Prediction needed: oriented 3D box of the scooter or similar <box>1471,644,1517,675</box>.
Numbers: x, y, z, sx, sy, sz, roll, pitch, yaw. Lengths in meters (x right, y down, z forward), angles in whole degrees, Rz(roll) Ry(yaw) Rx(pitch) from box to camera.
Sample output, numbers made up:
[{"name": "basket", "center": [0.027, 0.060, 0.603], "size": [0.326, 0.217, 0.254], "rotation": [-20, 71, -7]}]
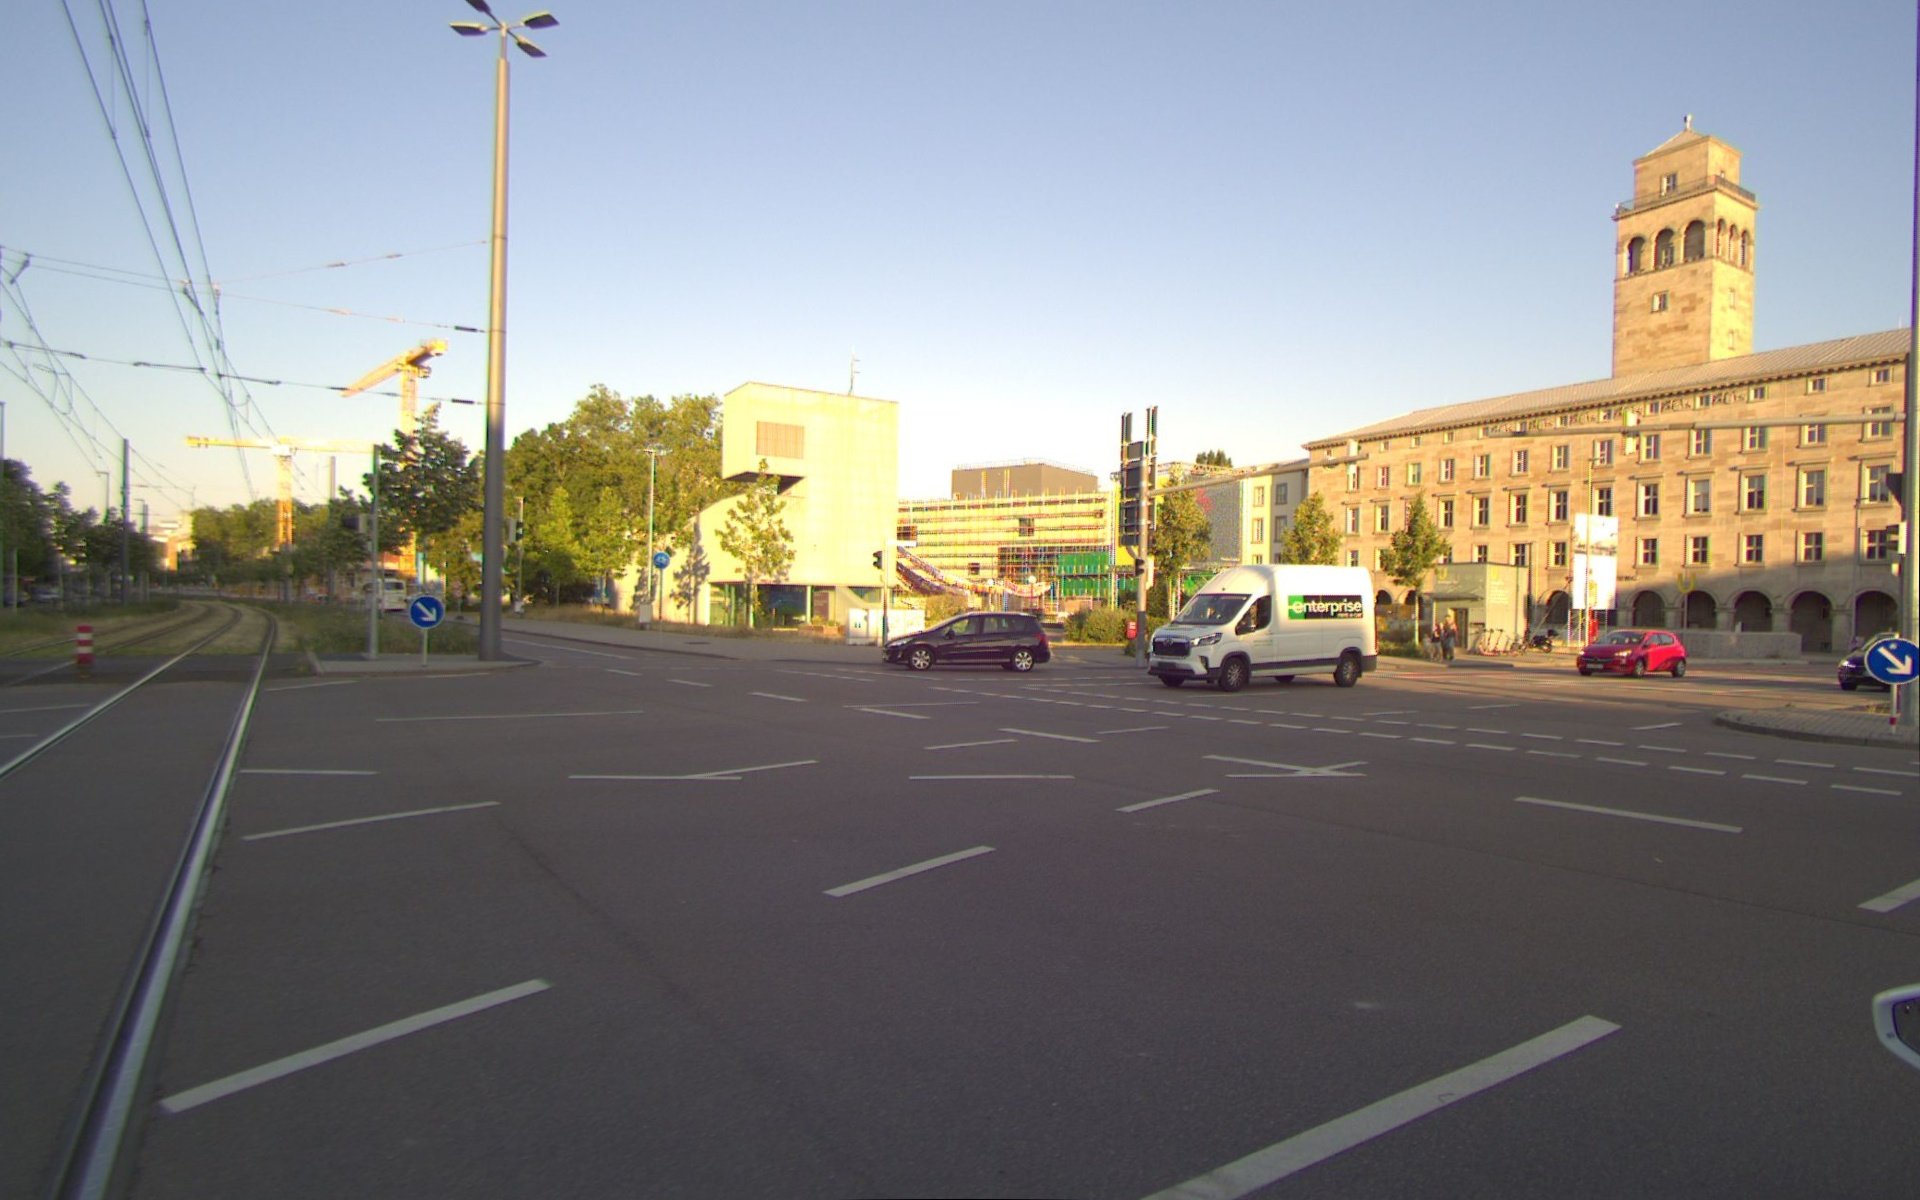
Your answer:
[{"name": "scooter or similar", "center": [24.410, 2.719, 45.932], "size": [0.419, 1.322, 1.817], "rotation": [2, -1, -37]}]

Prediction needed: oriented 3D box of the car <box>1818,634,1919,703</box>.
[{"name": "car", "center": [23.128, 1.658, 24.677], "size": [4.488, 1.485, 1.876], "rotation": [2, -1, -33]}]

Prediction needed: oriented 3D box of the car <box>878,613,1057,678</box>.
[{"name": "car", "center": [0.150, 1.199, 26.805], "size": [4.402, 1.573, 2.068], "rotation": [2, -1, -14]}]

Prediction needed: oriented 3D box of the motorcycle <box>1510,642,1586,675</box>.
[{"name": "motorcycle", "center": [29.363, 2.892, 50.202], "size": [0.831, 1.401, 3.214], "rotation": [3, 1, -32]}]

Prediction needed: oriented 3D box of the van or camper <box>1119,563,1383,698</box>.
[{"name": "van or camper", "center": [6.634, 0.666, 22.591], "size": [6.095, 2.702, 2.214], "rotation": [1, 0, -32]}]

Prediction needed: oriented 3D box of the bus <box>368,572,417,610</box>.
[{"name": "bus", "center": [-60.786, -0.961, 107.478], "size": [3.523, 3.764, 8.832], "rotation": [1, 0, -36]}]

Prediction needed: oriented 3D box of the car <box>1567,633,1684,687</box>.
[{"name": "car", "center": [20.852, 1.831, 31.424], "size": [3.957, 1.547, 1.625], "rotation": [1, 0, -33]}]

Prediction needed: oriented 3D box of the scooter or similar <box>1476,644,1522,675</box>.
[{"name": "scooter or similar", "center": [24.762, 2.730, 46.195], "size": [0.419, 1.322, 1.822], "rotation": [2, -1, -37]}]

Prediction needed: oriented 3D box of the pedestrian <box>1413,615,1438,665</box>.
[{"name": "pedestrian", "center": [18.753, 1.607, 40.480], "size": [0.640, 1.959, 0.656], "rotation": [1, 0, -30]}]

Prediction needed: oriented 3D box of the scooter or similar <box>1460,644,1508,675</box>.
[{"name": "scooter or similar", "center": [23.634, 2.678, 45.326], "size": [0.496, 1.322, 1.844], "rotation": [3, -1, -37]}]

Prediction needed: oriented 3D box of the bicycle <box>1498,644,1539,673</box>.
[{"name": "bicycle", "center": [26.354, 2.775, 47.389], "size": [2.483, 1.341, 0.613], "rotation": [3, -1, -34]}]

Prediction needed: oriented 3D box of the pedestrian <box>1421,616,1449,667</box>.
[{"name": "pedestrian", "center": [18.580, 1.602, 39.320], "size": [0.766, 1.959, 0.628], "rotation": [1, 0, -30]}]

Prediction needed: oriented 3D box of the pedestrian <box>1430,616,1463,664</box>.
[{"name": "pedestrian", "center": [19.321, 1.587, 39.894], "size": [0.766, 1.861, 0.868], "rotation": [1, 0, -30]}]
